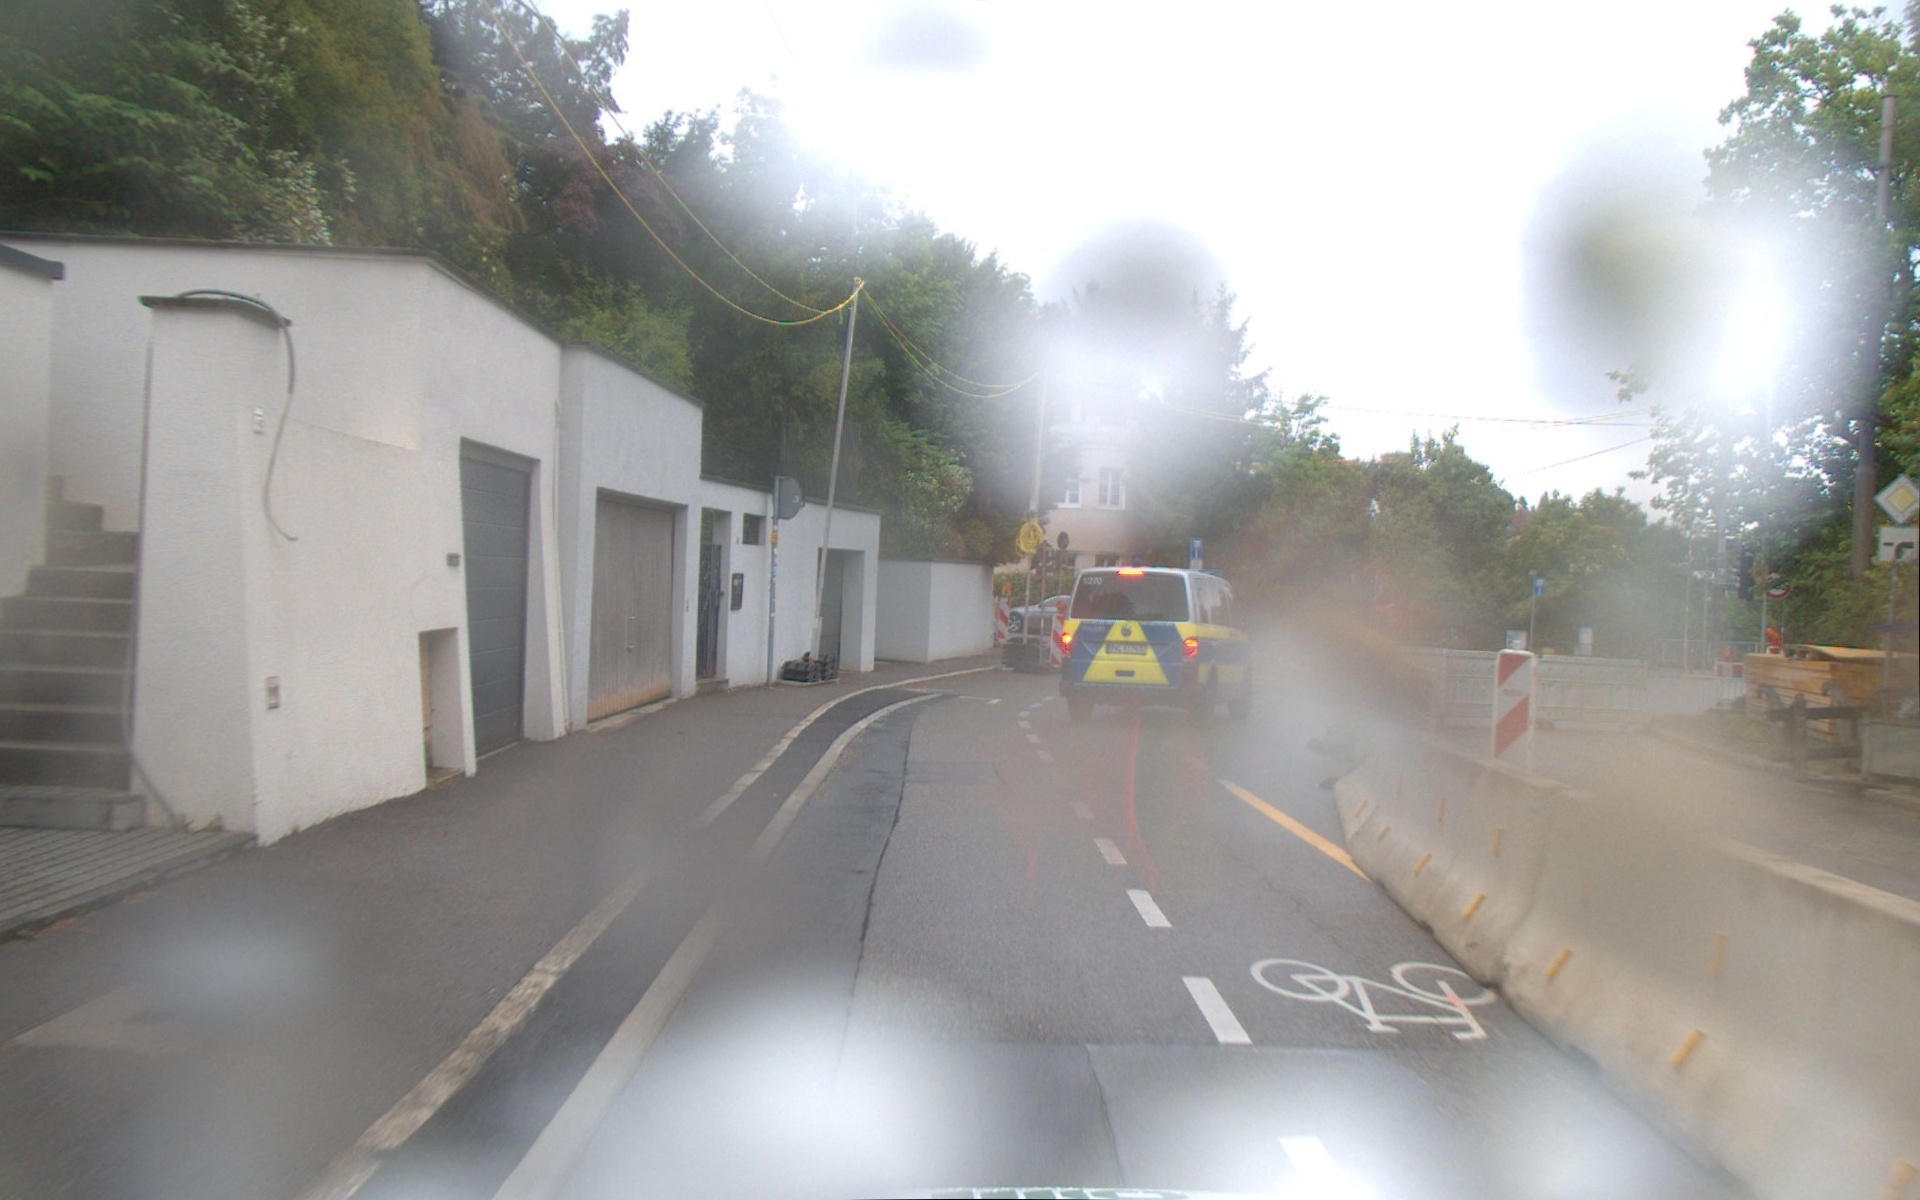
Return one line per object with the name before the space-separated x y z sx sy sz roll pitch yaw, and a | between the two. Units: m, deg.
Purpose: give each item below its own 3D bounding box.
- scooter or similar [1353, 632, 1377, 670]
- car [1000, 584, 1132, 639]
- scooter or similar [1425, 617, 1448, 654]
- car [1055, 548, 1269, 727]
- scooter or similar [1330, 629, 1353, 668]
scooter or similar | 12.887 1.614 52.683 0.455 1.164 0.995 4 -1 0
car | 3.481 0.369 54.410 3.913 1.544 1.724 3 -1 30
scooter or similar | 15.255 1.128 52.935 0.454 1.164 0.835 4 -1 2
car | 2.821 0.518 22.148 1.868 2.045 4.440 3 -1 19
scooter or similar | 12.261 1.560 53.165 0.455 1.207 1.025 4 -1 1
